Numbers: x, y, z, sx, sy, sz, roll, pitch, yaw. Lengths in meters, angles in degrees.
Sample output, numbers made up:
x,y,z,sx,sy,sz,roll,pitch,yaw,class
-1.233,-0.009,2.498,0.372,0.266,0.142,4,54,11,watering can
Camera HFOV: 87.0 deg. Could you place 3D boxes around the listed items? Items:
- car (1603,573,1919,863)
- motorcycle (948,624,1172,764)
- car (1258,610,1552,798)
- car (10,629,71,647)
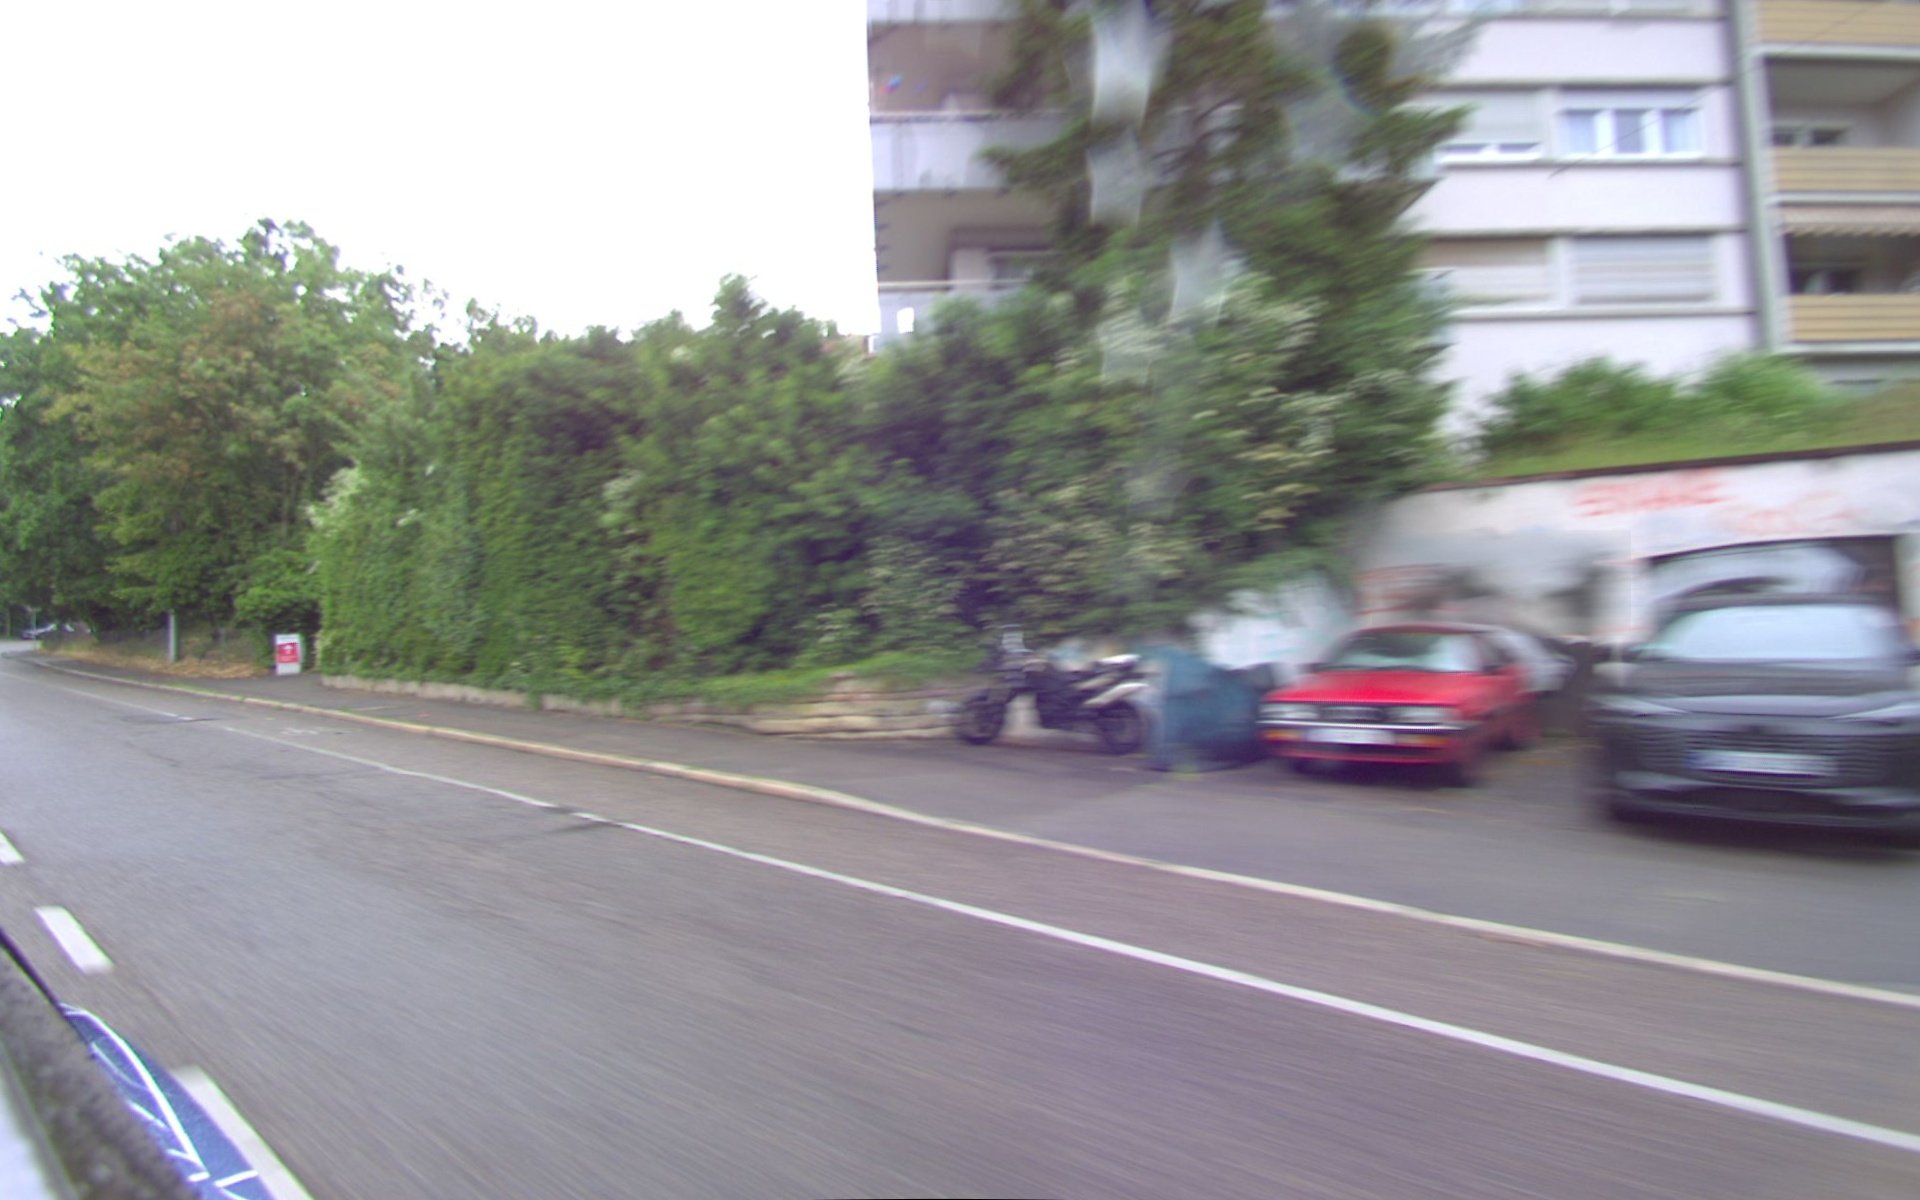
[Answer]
x,y,z,sx,sy,sz,roll,pitch,yaw,class
6.347,0.686,7.713,1.813,1.614,4.403,-3,-2,40,car
1.017,0.935,10.668,2.311,1.330,0.612,0,-1,30,motorcycle
4.380,0.831,9.676,1.714,1.416,3.596,-2,-1,38,car
-82.775,3.405,91.164,1.703,1.455,4.122,-1,-1,2,car
